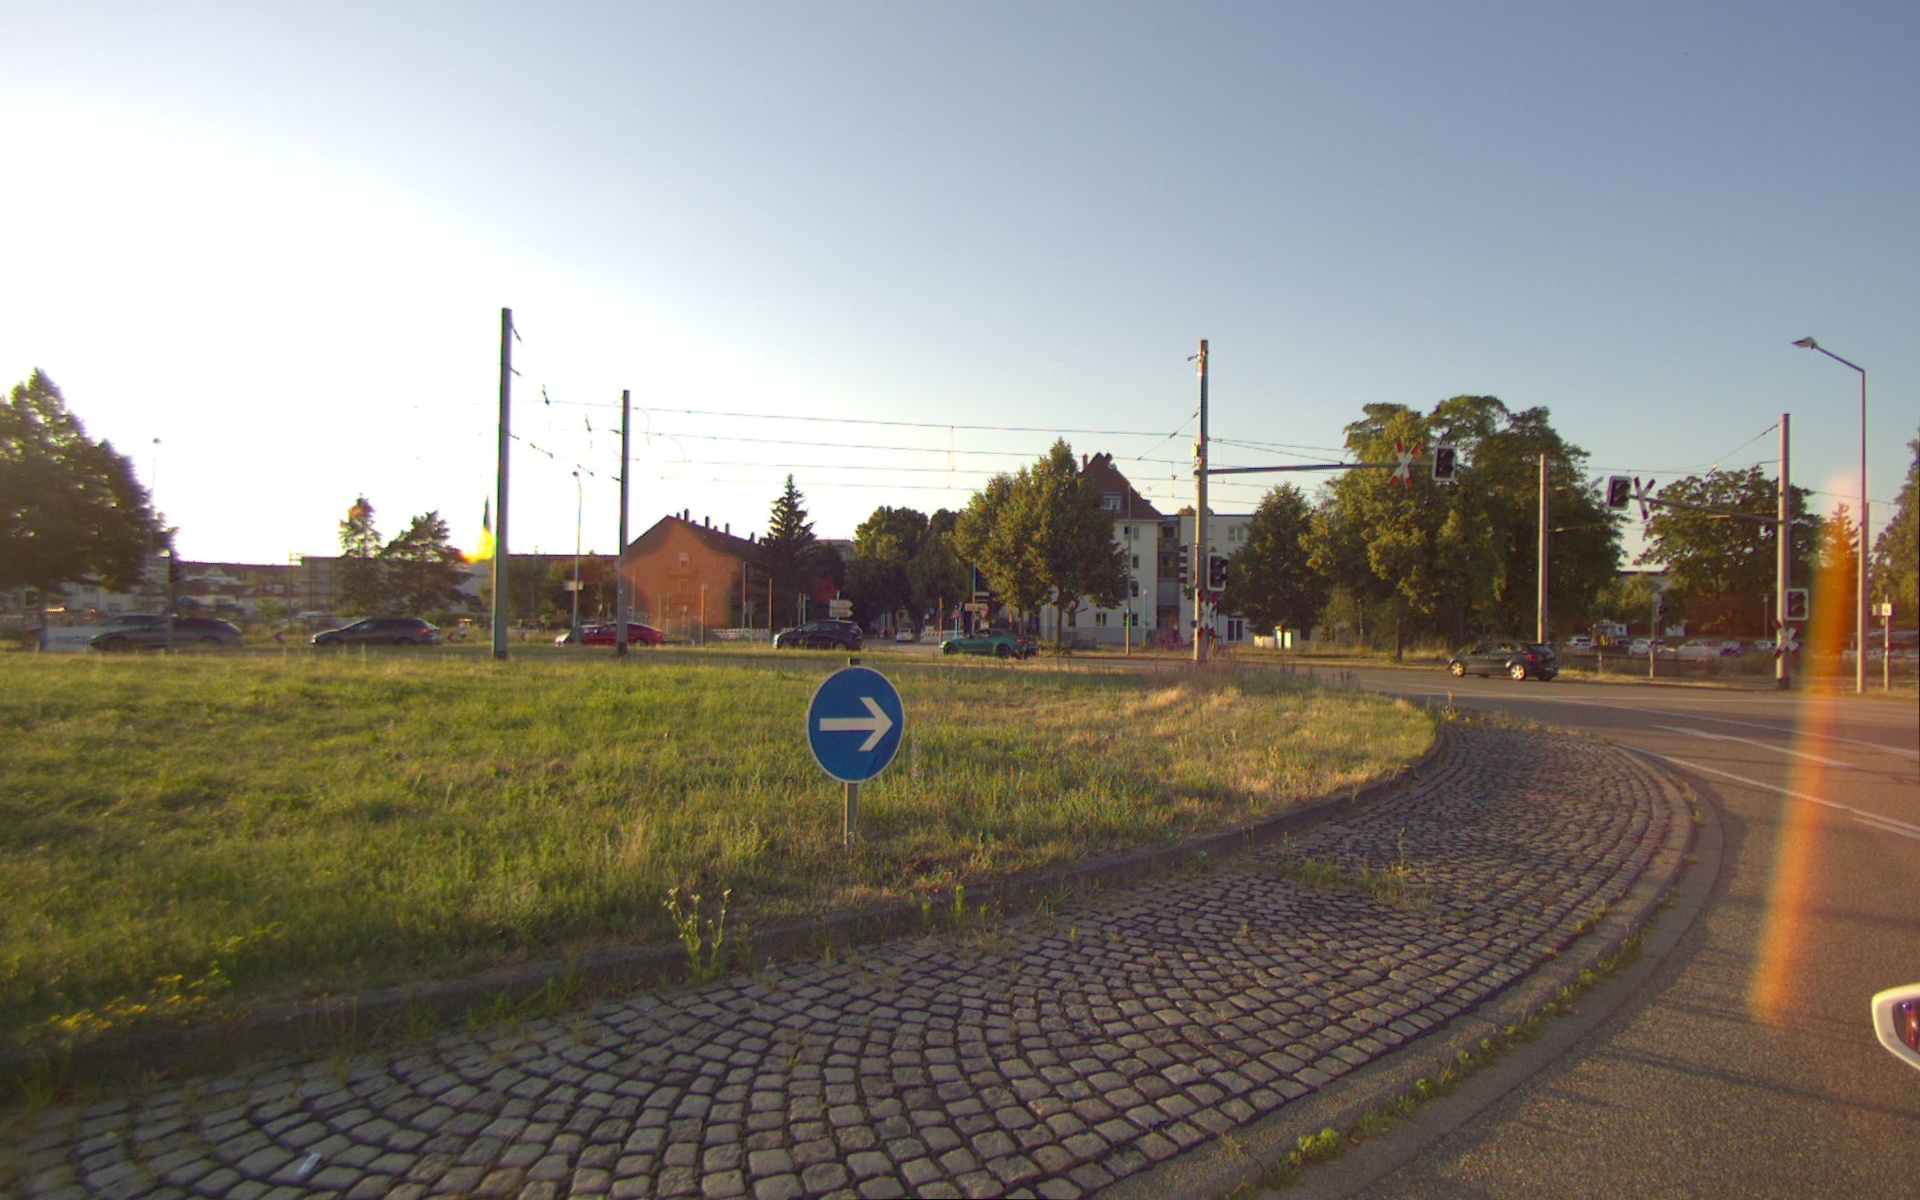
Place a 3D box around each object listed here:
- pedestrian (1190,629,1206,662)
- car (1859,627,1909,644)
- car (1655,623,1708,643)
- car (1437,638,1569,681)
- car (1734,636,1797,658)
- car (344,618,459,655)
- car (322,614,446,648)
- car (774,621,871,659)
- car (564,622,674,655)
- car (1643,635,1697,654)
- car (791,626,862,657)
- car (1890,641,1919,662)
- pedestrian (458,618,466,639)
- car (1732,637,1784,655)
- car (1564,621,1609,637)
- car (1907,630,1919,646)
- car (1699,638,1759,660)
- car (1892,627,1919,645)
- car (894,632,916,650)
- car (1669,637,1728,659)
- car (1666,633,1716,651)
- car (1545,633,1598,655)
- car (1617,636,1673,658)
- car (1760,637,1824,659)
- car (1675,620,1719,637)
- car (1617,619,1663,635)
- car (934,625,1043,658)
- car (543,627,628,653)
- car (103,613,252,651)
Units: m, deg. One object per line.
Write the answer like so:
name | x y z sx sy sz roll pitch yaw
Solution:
pedestrian | 14.221 2.702 60.096 0.614 1.918 0.662 2 0 -35
car | 108.016 4.148 117.448 3.919 1.840 2.001 1 -1 5
car | 80.213 3.663 111.738 4.507 2.040 2.000 1 -1 0
car | 19.747 2.139 36.697 1.672 1.372 3.973 -1 -1 -27
car | 64.001 3.728 79.928 1.960 1.625 4.002 1 -1 3
car | -27.734 1.812 50.045 4.639 1.728 1.993 1 -1 -16
car | -24.313 1.316 42.562 4.323 1.394 1.989 1 -1 -24
car | -6.194 1.791 45.392 3.920 1.605 1.896 0 -1 18
car | -15.325 1.741 45.373 4.415 1.410 1.893 1 -1 -9
car | 69.195 4.344 97.929 3.919 1.684 1.904 1 -1 5
car | -7.061 2.191 53.163 3.420 1.519 1.644 1 -1 6
car | 76.338 4.101 79.473 1.960 1.625 4.002 1 -1 3
pedestrian | -31.127 1.783 62.807 0.392 1.325 0.426 1 -1 -30
car | 77.332 4.434 97.412 3.938 1.684 1.894 0 -1 39
car | 79.563 3.671 127.622 4.507 2.040 2.000 1 -1 0
car | 105.569 4.130 108.719 1.971 1.728 3.979 1 -1 -22
car | 61.620 3.923 80.558 1.960 1.625 4.002 1 -1 3
car | 107.436 4.047 112.596 3.919 2.040 2.001 1 -1 11
car | -5.752 4.267 104.846 1.960 1.840 4.001 1 -1 1
car | 59.501 3.861 81.035 1.960 1.625 4.002 1 -1 3
car | 73.146 4.203 100.573 3.934 1.684 1.994 0 -1 35
car | 49.400 3.555 81.226 1.960 1.625 4.002 1 -1 3
car | 54.742 3.713 80.334 1.960 1.625 4.002 1 -1 3
car | 66.354 3.801 80.168 1.960 1.625 4.002 1 -1 3
car | 93.188 3.609 127.030 4.033 2.040 2.001 1 -1 4
car | 86.237 3.402 127.438 4.505 2.040 2.001 1 -1 5
car | 1.288 1.881 46.148 4.656 1.389 1.994 0 -1 35
car | -21.879 2.313 58.905 2.071 1.385 4.462 0 -1 26
car | -30.676 1.257 39.560 4.299 1.394 1.985 1 -1 -29
